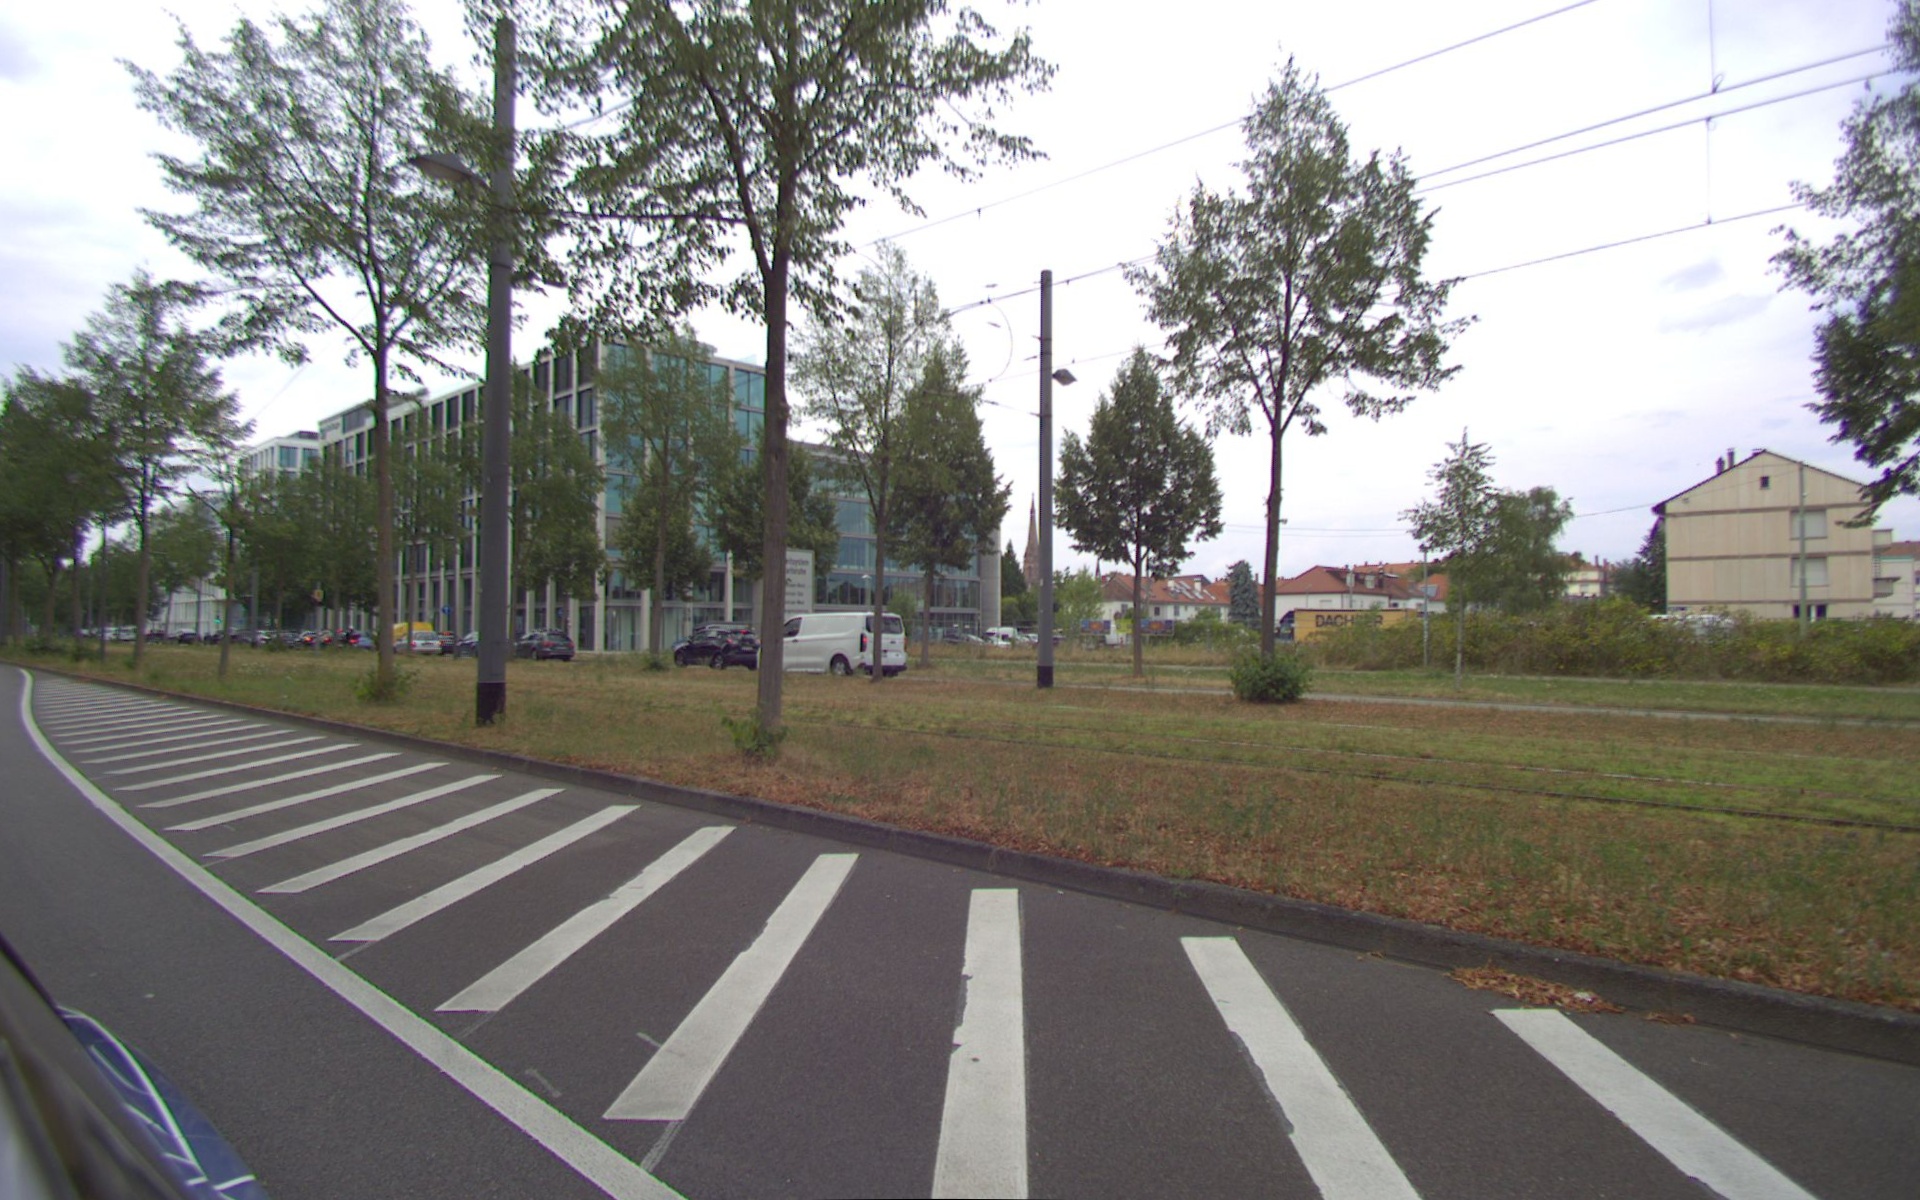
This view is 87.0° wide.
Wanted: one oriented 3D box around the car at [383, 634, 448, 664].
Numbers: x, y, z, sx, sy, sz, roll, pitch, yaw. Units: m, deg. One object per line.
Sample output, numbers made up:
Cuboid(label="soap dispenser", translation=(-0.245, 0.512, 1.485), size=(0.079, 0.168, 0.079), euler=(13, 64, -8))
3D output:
Cuboid(label="car", translation=(-28.124, 2.494, 52.227), size=(3.863, 1.508, 1.730), euler=(-2, -2, 42))

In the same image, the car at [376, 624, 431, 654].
Cuboid(label="car", translation=(-35.448, 2.463, 64.441), size=(1.929, 1.785, 4.447), euler=(2, -2, -44))

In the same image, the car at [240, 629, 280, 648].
Cuboid(label="car", translation=(-54.398, 2.979, 78.622), size=(3.865, 1.468, 1.729), euler=(-2, -2, 43))

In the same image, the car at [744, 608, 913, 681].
Cuboid(label="car", translation=(-3.936, 1.269, 29.751), size=(5.089, 1.959, 1.974), euler=(-1, -2, 38))

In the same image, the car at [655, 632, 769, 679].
Cuboid(label="car", translation=(-9.499, 2.065, 38.596), size=(4.688, 1.669, 1.809), euler=(-1, -2, 40))

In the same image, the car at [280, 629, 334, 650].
Cuboid(label="car", translation=(-44.047, 2.647, 68.249), size=(3.998, 1.429, 1.973), euler=(-2, -2, 41))

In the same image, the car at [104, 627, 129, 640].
Cuboid(label="car", translation=(-97.376, 3.841, 116.837), size=(3.865, 1.468, 1.729), euler=(-2, -2, 43))

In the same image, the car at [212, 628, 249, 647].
Cuboid(label="car", translation=(-60.584, 3.101, 84.021), size=(3.865, 1.468, 1.729), euler=(-2, -2, 43))

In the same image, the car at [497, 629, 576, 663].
Cuboid(label="car", translation=(-20.413, 2.184, 48.746), size=(4.276, 1.541, 1.731), euler=(-1, -2, 40))

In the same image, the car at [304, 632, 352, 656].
Cuboid(label="car", translation=(-40.487, 2.815, 64.810), size=(3.866, 1.468, 1.729), euler=(-2, -2, 44))

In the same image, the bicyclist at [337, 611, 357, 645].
Cuboid(label="bicyclist", translation=(-37.494, 1.698, 61.858), size=(0.994, 2.029, 0.733), euler=(-1, 0, 39))

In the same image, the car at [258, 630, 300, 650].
Cuboid(label="car", translation=(-50.029, 2.908, 74.336), size=(3.865, 1.468, 1.729), euler=(-2, -2, 43))

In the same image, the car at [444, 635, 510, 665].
Cuboid(label="car", translation=(-25.367, 2.605, 53.101), size=(3.863, 1.508, 1.730), euler=(-2, -2, 42))

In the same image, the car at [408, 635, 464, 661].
Cuboid(label="car", translation=(-30.498, 2.757, 58.855), size=(3.866, 1.468, 1.729), euler=(-2, -3, 44))

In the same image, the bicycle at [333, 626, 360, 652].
Cuboid(label="bicycle", translation=(-37.526, 2.398, 61.906), size=(2.356, 1.499, 0.702), euler=(-2, -1, 40))

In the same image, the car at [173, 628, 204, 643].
Cuboid(label="car", translation=(-73.648, 3.380, 96.591), size=(3.865, 1.468, 1.729), euler=(-2, -2, 43))
